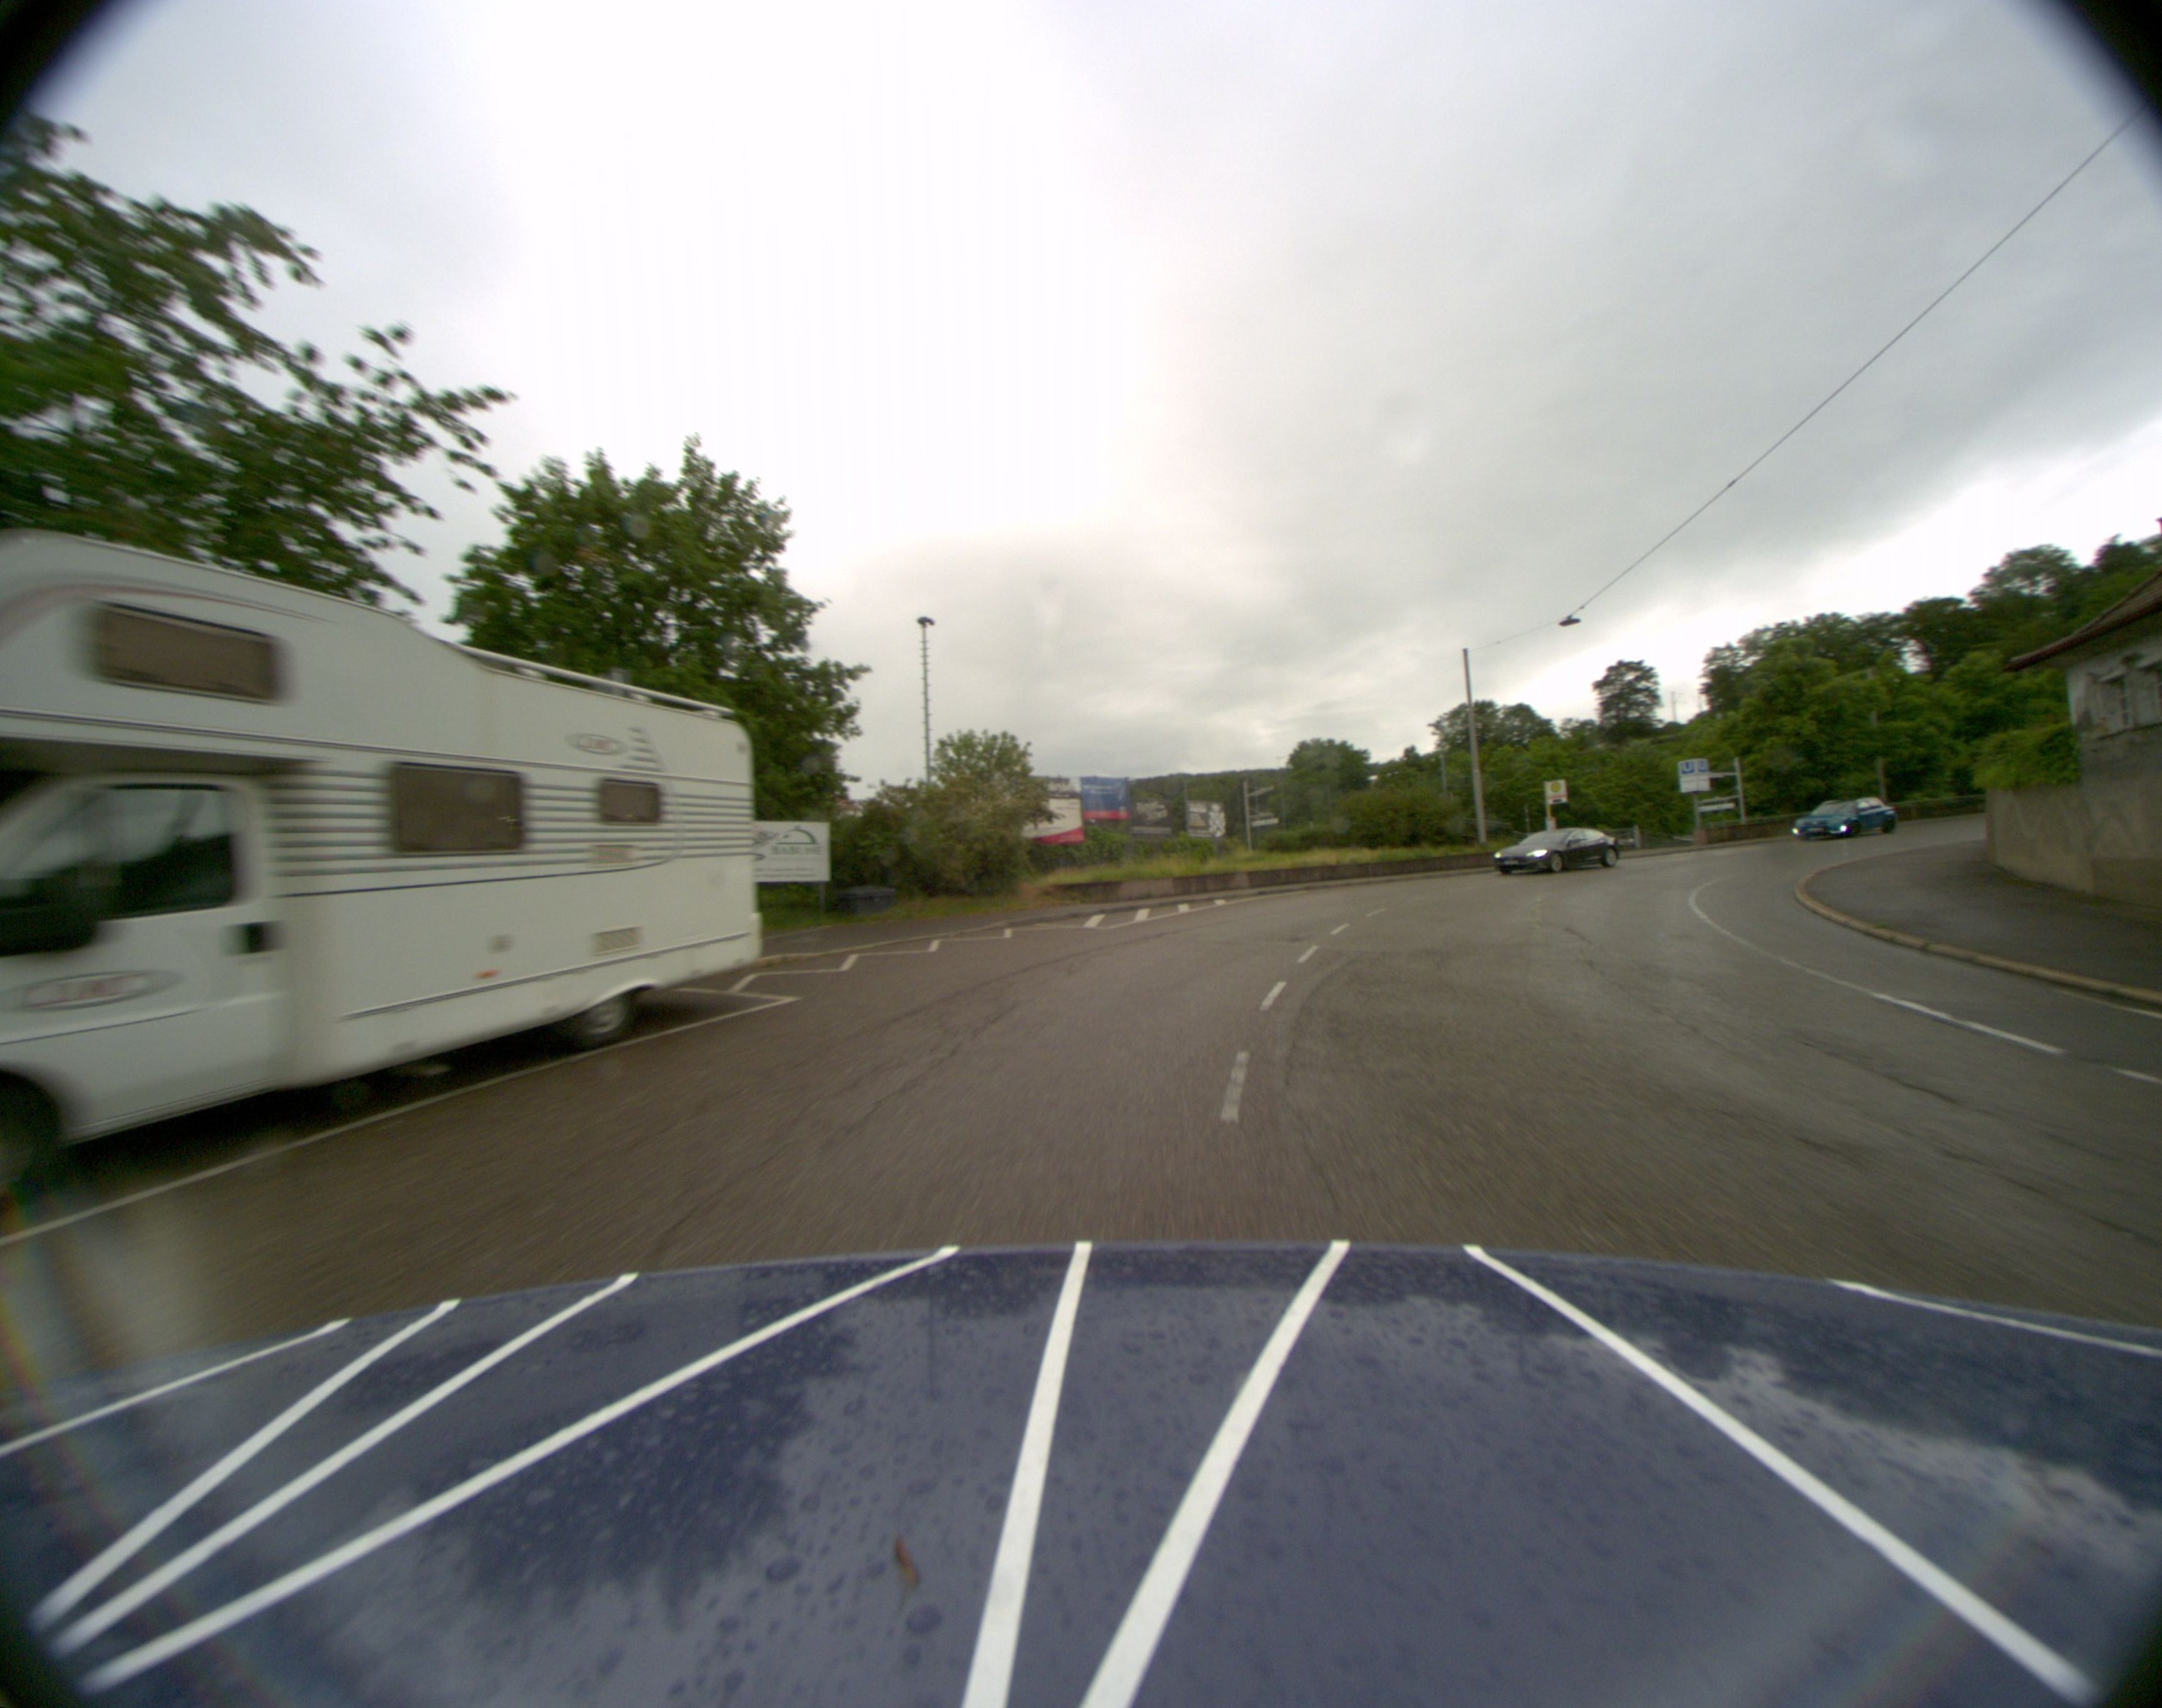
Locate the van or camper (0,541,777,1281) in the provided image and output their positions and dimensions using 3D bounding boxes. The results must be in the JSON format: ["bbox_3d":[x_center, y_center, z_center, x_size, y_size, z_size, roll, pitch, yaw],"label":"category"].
[{"bbox_3d":[-5.043,0.217,5.147,2.393,2.927,6.287,0,0,12],"label":"van or camper"}]

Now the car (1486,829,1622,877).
[{"bbox_3d":[16.148,-0.054,25.926,4.328,1.384,1.833,-3,1,-24],"label":"car"}]

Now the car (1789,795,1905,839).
[{"bbox_3d":[32.316,-1.557,32.083,4.045,1.599,1.800,-1,-4,-19],"label":"car"}]
